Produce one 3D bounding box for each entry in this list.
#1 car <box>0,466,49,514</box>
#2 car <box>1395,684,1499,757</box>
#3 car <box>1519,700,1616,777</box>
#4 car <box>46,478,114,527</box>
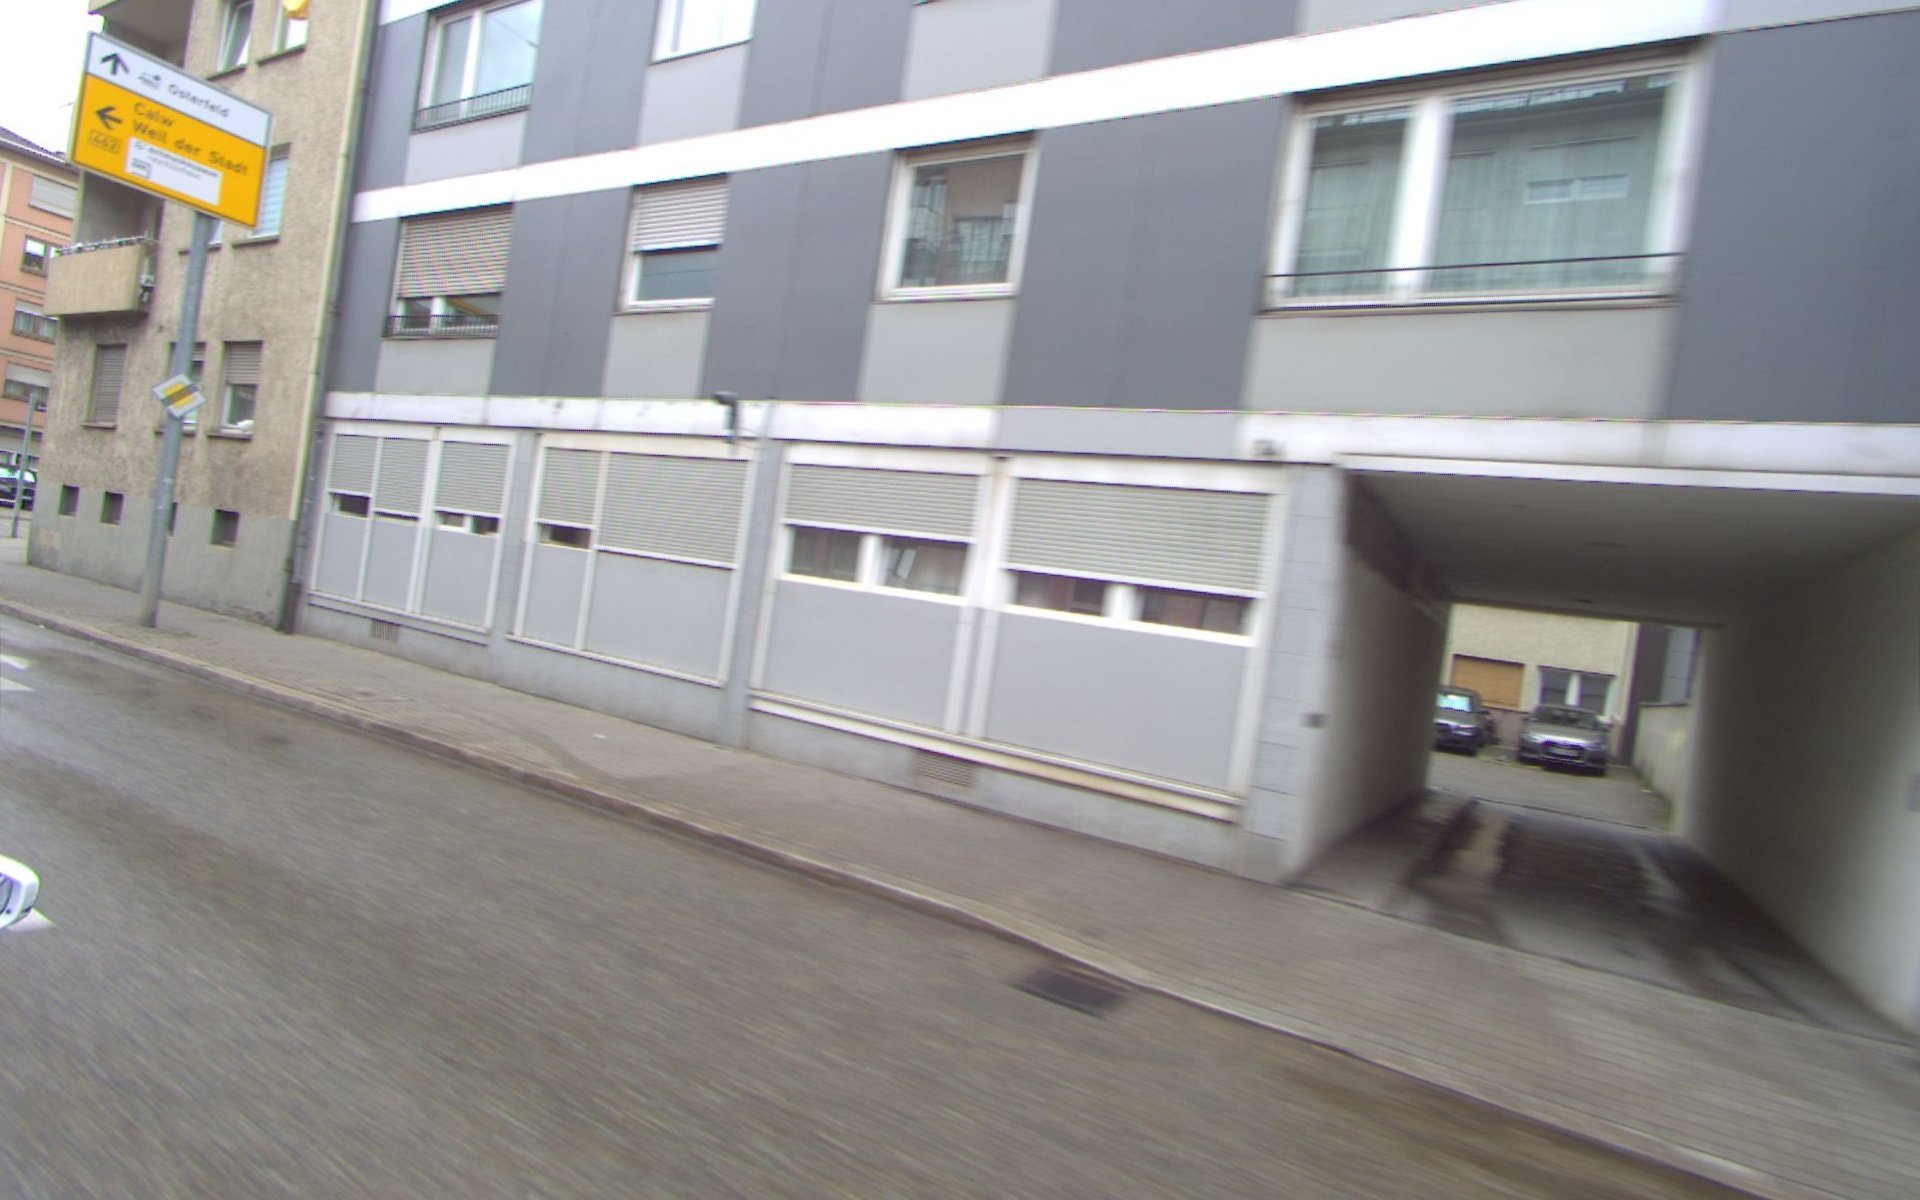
[{"bbox_3d":[-40.146,-4.699,42.600,3.947,1.741,1.982,8,1,44],"label":"car"},{"bbox_3d":[11.978,2.908,24.642,1.634,1.459,3.289,6,-1,36],"label":"car"},{"bbox_3d":[14.413,3.201,23.785,1.567,1.459,3.740,6,-1,36],"label":"car"},{"bbox_3d":[-38.466,-4.295,43.961,3.947,1.718,1.792,8,-1,44],"label":"car"}]
